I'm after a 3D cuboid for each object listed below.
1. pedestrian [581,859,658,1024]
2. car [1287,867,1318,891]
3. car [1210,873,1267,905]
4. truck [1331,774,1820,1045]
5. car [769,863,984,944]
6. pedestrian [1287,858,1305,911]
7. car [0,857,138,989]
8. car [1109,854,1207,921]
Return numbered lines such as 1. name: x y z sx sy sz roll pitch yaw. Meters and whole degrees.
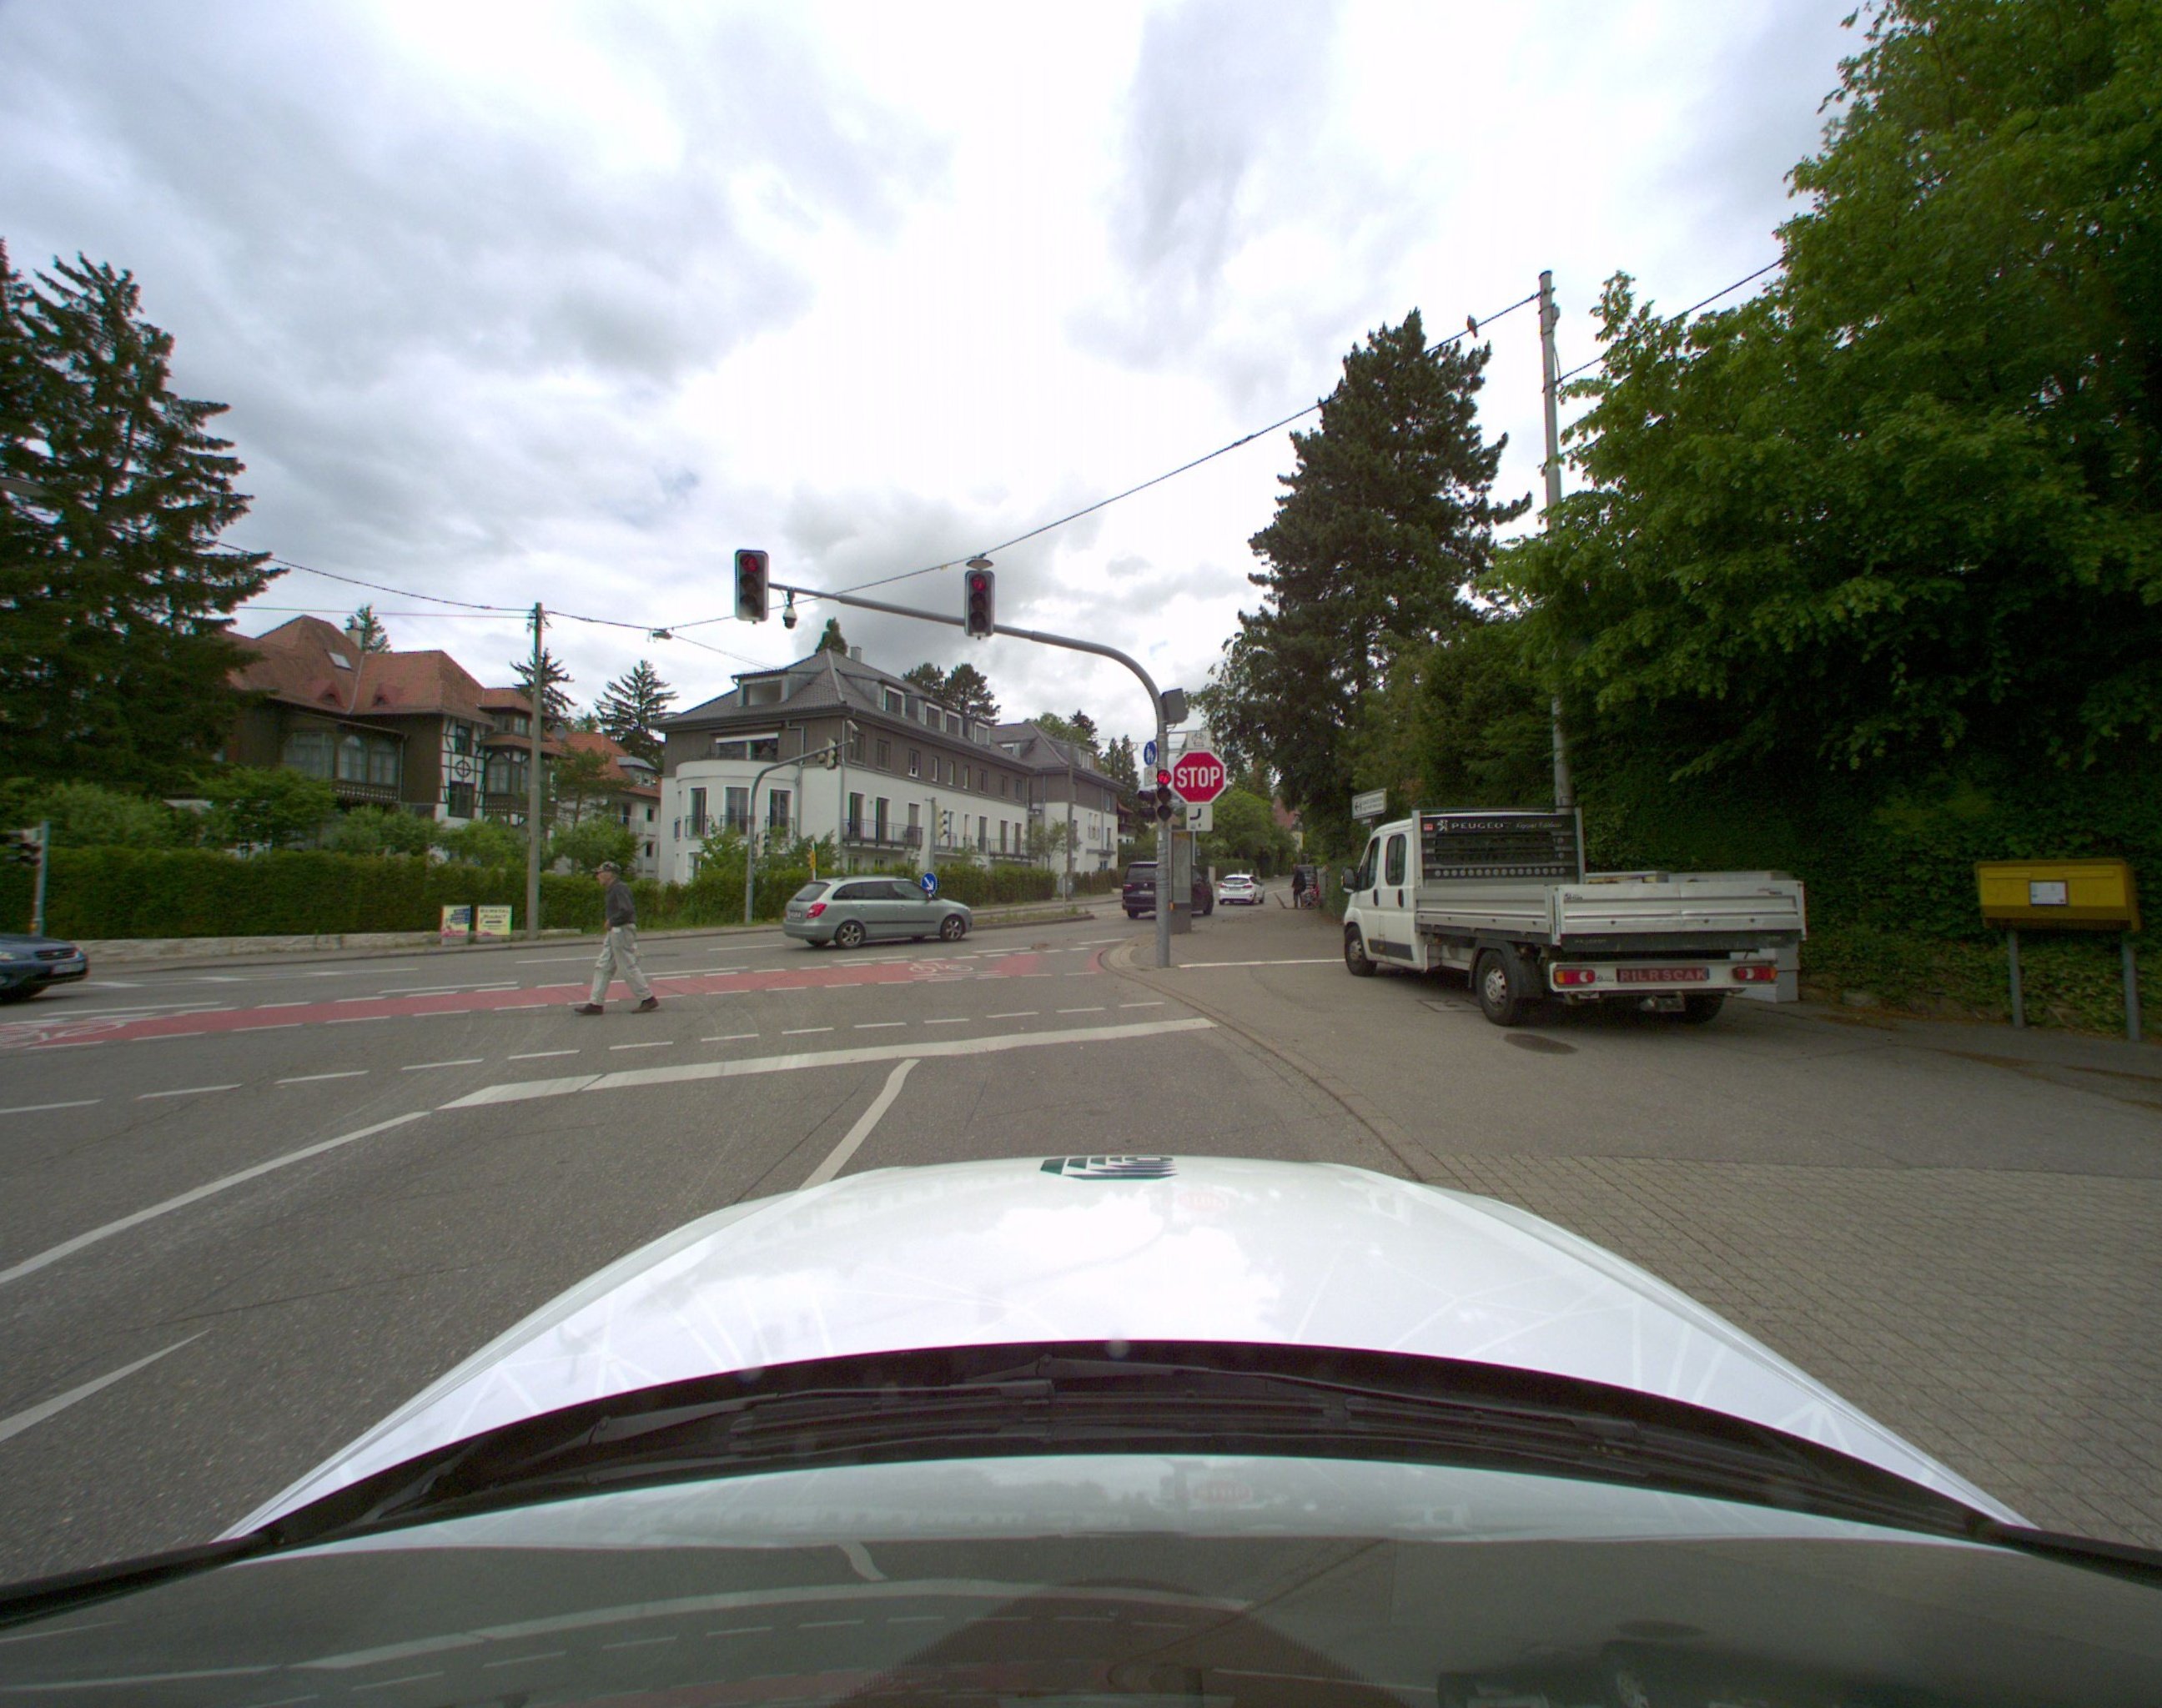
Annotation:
1. pedestrian: -5.062 0.911 8.926 0.703 1.682 0.679 -1 1 -32
2. car: 18.807 2.161 69.279 1.983 2.014 4.518 0 -3 7
3. car: 7.692 1.676 39.507 1.913 1.383 4.022 -1 0 23
4. truck: 4.907 0.542 9.554 2.176 2.195 5.880 0 -2 0
5. car: -4.342 0.975 17.705 4.218 1.476 1.692 1 2 -43
6. pedestrian: 8.424 1.184 31.972 0.583 2.014 0.843 -1 -1 10
7. car: -15.915 0.902 10.523 4.408 1.685 1.899 0 -2 -23
8. car: 2.781 1.046 28.374 1.976 2.013 4.807 2 1 23
